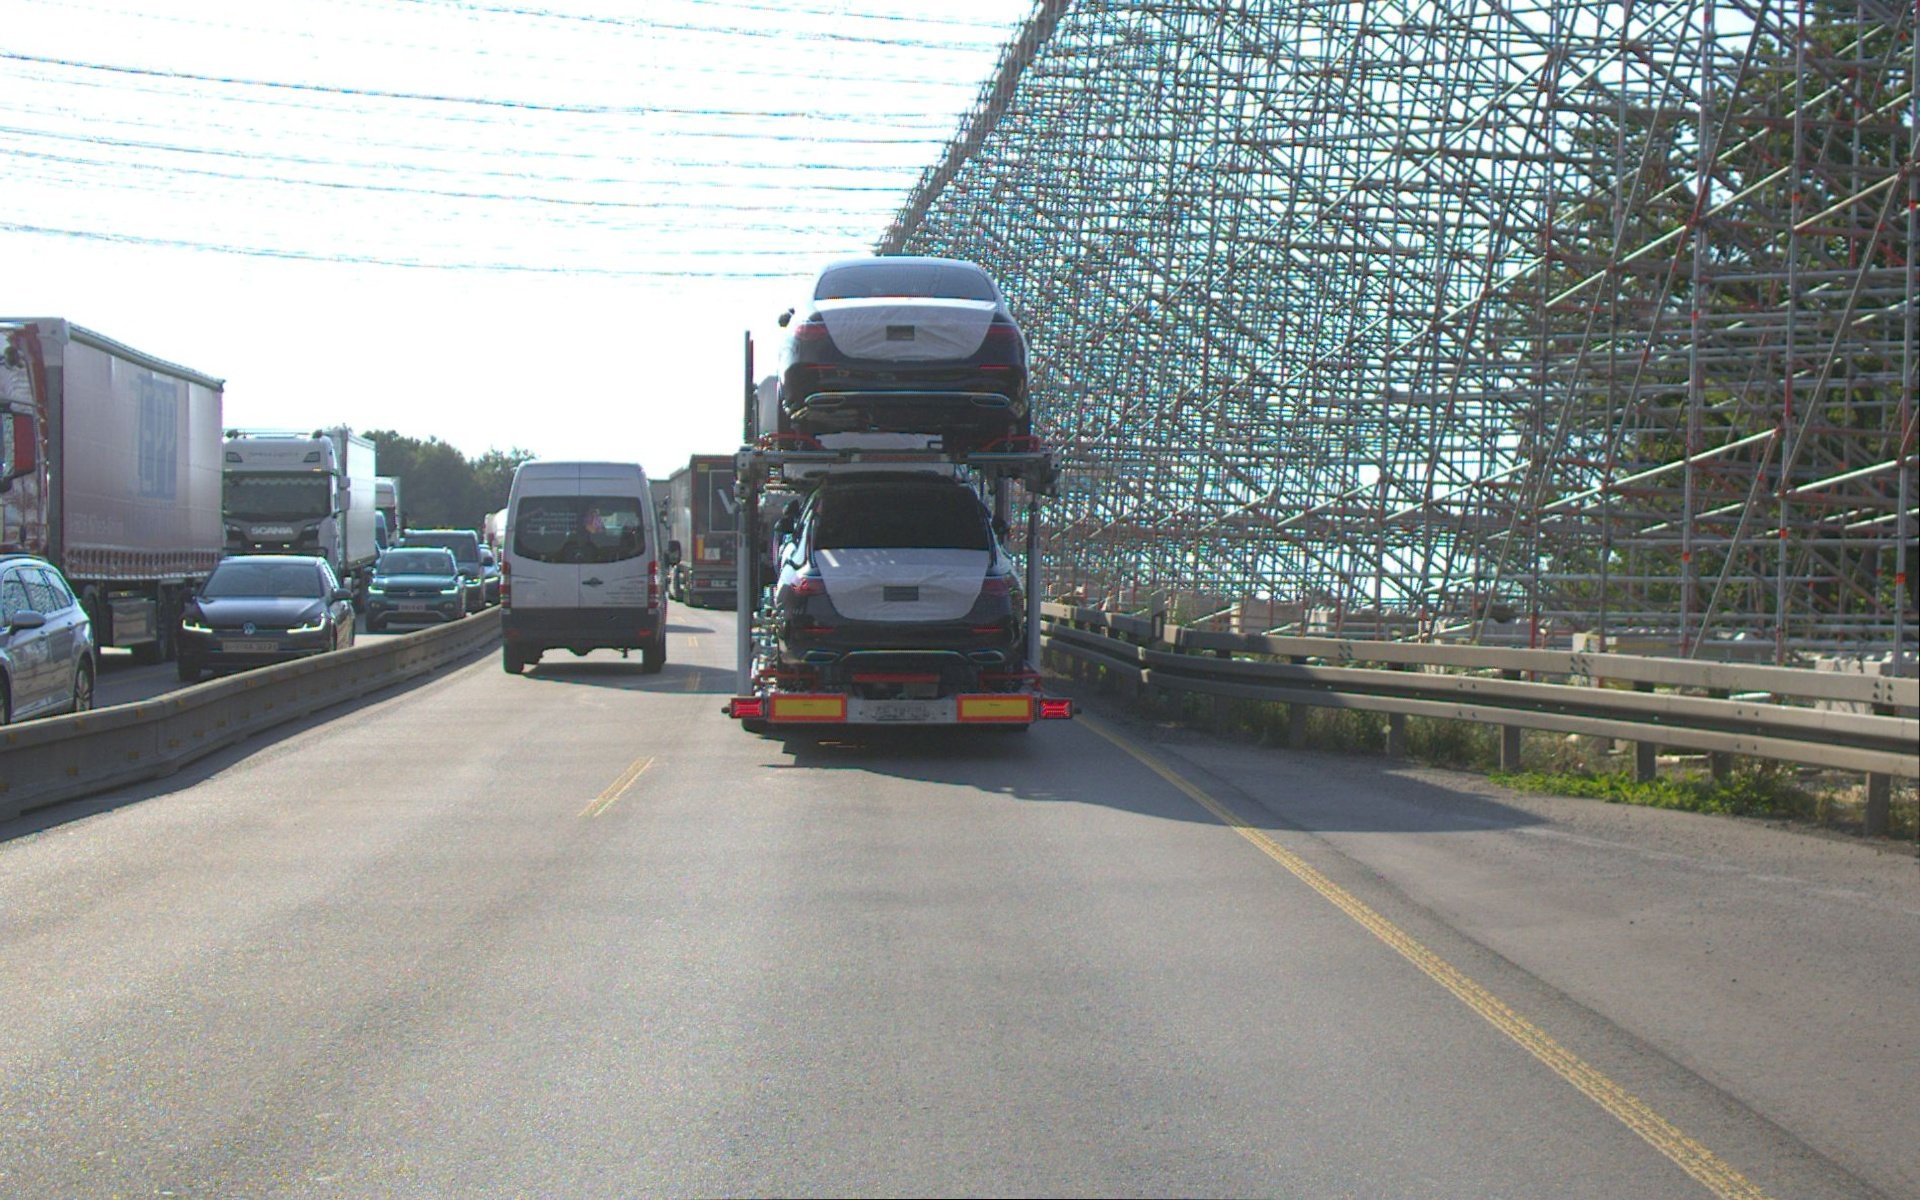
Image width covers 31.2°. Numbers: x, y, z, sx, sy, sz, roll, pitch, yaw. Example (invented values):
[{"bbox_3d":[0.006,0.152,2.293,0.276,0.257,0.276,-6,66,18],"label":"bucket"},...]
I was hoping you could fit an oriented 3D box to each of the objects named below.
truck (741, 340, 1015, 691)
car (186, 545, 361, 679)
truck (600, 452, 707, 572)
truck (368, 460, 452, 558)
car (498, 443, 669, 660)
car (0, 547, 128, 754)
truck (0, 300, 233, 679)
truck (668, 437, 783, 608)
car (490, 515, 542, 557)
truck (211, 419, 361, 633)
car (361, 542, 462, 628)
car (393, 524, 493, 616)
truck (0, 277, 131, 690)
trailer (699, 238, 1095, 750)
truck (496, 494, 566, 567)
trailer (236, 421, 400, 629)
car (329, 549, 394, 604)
[{"bbox_3d":[-1.010,-0.915,39.885,2.881,3.690,7.326,0,0,-2],"label":"truck"},{"bbox_3d":[-8.123,0.103,40.963,1.650,1.459,4.401,1,1,-7],"label":"car"},{"bbox_3d":[-11.676,-3.317,131.644,3.686,4.206,13.671,-3,1,-5],"label":"truck"},{"bbox_3d":[-20.846,-3.409,129.834,2.594,3.461,12.396,1,1,-11],"label":"truck"},{"bbox_3d":[-4.730,-0.590,43.613,1.956,2.612,4.000,0,0,-4],"label":"car"},{"bbox_3d":[-7.653,0.319,25.815,1.732,1.434,4.838,2,1,-2],"label":"car"},{"bbox_3d":[-11.595,-1.263,44.258,2.787,4.127,13.810,0,0,-5],"label":"truck"},{"bbox_3d":[-6.548,-2.109,94.530,2.731,4.370,11.524,1,1,-6],"label":"truck"},{"bbox_3d":[-17.252,-2.477,133.603,1.710,1.612,3.504,0,0,-12],"label":"car"},{"bbox_3d":[-13.831,-1.500,70.921,2.662,4.215,6.106,0,1,-8],"label":"truck"},{"bbox_3d":[-10.302,-0.308,64.743,1.742,1.529,4.268,1,1,-8],"label":"car"},{"bbox_3d":[-11.347,-0.680,75.678,1.874,1.928,4.863,1,1,-5],"label":"car"},{"bbox_3d":[-10.988,-1.197,37.586,2.787,4.127,6.680,0,0,-5],"label":"truck"},{"bbox_3d":[-0.721,-0.828,32.492,2.868,3.712,14.948,0,0,-2],"label":"trailer"},{"bbox_3d":[-22.844,-3.687,182.820,2.615,3.711,9.662,1,1,-13],"label":"truck"},{"bbox_3d":[-14.366,-1.674,77.852,2.653,4.219,13.923,1,1,-7],"label":"trailer"},{"bbox_3d":[-17.235,-0.692,99.053,1.634,1.481,4.001,1,1,-7],"label":"car"}]
